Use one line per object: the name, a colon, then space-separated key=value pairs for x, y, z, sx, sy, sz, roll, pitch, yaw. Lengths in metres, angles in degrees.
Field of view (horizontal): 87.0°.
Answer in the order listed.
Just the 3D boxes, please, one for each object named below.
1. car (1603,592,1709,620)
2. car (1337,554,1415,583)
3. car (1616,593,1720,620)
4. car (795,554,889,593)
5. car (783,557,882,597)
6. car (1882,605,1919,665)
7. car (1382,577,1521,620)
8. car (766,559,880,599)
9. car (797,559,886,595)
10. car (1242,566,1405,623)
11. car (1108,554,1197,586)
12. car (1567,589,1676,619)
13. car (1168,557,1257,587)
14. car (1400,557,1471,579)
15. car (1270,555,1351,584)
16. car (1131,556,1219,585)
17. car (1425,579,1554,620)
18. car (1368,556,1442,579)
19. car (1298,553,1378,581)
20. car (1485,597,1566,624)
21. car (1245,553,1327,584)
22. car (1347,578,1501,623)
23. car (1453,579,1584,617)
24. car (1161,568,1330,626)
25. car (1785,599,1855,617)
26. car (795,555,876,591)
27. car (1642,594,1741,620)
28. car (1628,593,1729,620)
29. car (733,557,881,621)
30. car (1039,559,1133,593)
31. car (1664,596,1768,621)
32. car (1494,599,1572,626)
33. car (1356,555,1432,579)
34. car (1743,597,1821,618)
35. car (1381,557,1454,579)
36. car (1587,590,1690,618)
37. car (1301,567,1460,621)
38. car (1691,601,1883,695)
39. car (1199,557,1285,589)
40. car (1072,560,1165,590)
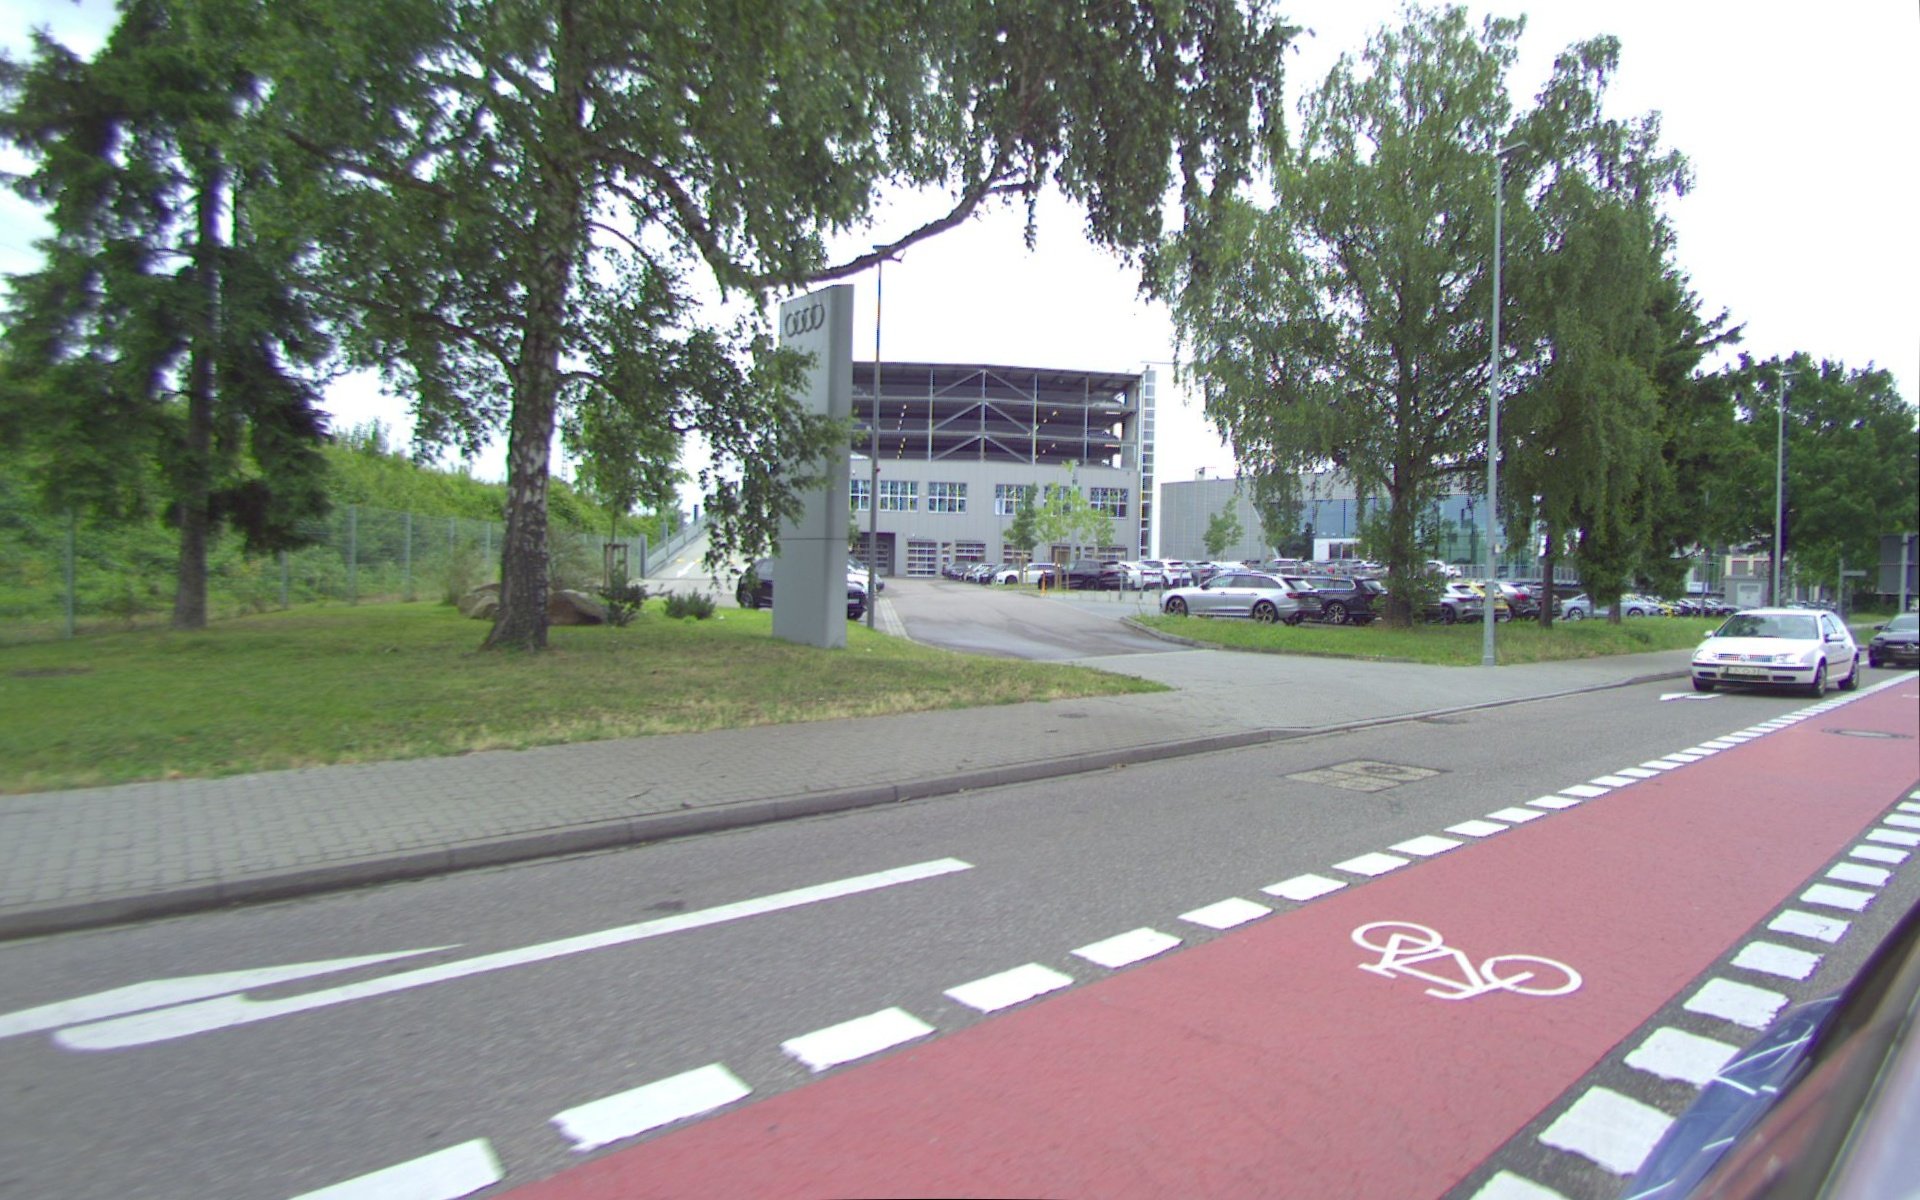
car: x=36.483 y=0.328 z=53.118 sx=1.708 sy=1.375 sz=4.304 roll=1 pitch=-1 yaw=-40
car: x=27.052 y=-2.019 z=65.944 sx=1.861 sy=1.612 sz=4.306 roll=1 pitch=-1 yaw=-39
car: x=38.438 y=0.386 z=55.026 sx=1.806 sy=1.396 sz=4.304 roll=1 pitch=-1 yaw=-40
car: x=-5.467 y=-1.191 z=46.836 sx=4.224 sy=1.712 sz=1.971 roll=0 pitch=-1 yaw=-6
car: x=-5.570 y=-1.005 z=44.376 sx=4.224 sy=1.674 sz=1.971 roll=0 pitch=-1 yaw=-6
car: x=24.822 y=0.862 z=25.553 sx=3.930 sy=1.442 sz=1.835 roll=1 pitch=0 yaw=-41
car: x=17.144 y=-0.024 z=35.433 sx=1.777 sy=1.397 sz=4.004 roll=1 pitch=-1 yaw=-38
car: x=-5.668 y=-0.854 z=41.915 sx=4.579 sy=1.587 sz=1.907 roll=0 pitch=-1 yaw=-8
car: x=-5.766 y=-1.126 z=49.513 sx=4.224 sy=1.683 sz=1.971 roll=0 pitch=-1 yaw=-6
car: x=11.061 y=-0.103 z=31.003 sx=1.935 sy=1.622 sz=4.302 roll=1 pitch=-2 yaw=-42
car: x=9.664 y=-1.468 z=51.153 sx=1.671 sy=1.400 sz=4.302 roll=1 pitch=-2 yaw=-42
car: x=32.829 y=0.233 z=50.299 sx=1.708 sy=1.450 sz=4.195 roll=1 pitch=-2 yaw=-40
car: x=13.315 y=-1.446 z=53.465 sx=1.801 sy=1.389 sz=4.302 roll=1 pitch=-2 yaw=-42
car: x=34.458 y=-2.278 z=73.419 sx=1.801 sy=1.381 sz=4.302 roll=1 pitch=-2 yaw=-42
car: x=21.184 y=-1.830 z=61.232 sx=1.801 sy=1.545 sz=4.302 roll=1 pitch=-2 yaw=-42
car: x=11.165 y=-1.509 z=52.753 sx=1.801 sy=1.263 sz=4.302 roll=1 pitch=-2 yaw=-42
car: x=19.402 y=0.014 z=37.158 sx=1.919 sy=1.442 sz=3.756 roll=1 pitch=-2 yaw=-41
car: x=30.663 y=-2.204 z=69.865 sx=1.801 sy=1.381 sz=4.302 roll=1 pitch=-2 yaw=-42
car: x=23.328 y=-2.022 z=62.562 sx=1.801 sy=1.531 sz=4.302 roll=1 pitch=-2 yaw=-42
car: x=37.727 y=0.741 z=67.561 sx=1.937 sy=1.622 sz=4.304 roll=2 pitch=-4 yaw=-40
car: x=19.138 y=-1.822 z=59.542 sx=1.827 sy=1.547 sz=4.302 roll=1 pitch=-2 yaw=-42
car: x=15.441 y=0.066 z=33.838 sx=1.868 sy=1.400 sz=4.306 roll=1 pitch=-1 yaw=-39
car: x=21.496 y=-0.052 z=39.067 sx=1.868 sy=1.371 sz=4.000 roll=1 pitch=-1 yaw=-39
car: x=7.982 y=-0.106 z=28.530 sx=4.299 sy=1.508 sz=1.712 roll=1 pitch=0 yaw=44
car: x=68.331 y=0.637 z=80.433 sx=1.697 sy=1.410 sz=4.037 roll=1 pitch=-1 yaw=-40
car: x=-6.618 y=-1.446 z=54.134 sx=4.224 sy=1.828 sz=1.971 roll=0 pitch=-1 yaw=-6
car: x=42.112 y=0.420 z=58.316 sx=1.811 sy=1.463 sz=4.304 roll=1 pitch=-1 yaw=-40
car: x=40.131 y=0.380 z=56.624 sx=1.811 sy=1.463 sz=4.304 roll=1 pitch=-1 yaw=-40
car: x=-4.418 y=-0.363 z=28.762 sx=4.299 sy=1.608 sz=1.938 roll=4 pitch=3 yaw=44
car: x=5.875 y=-1.090 z=47.587 sx=1.801 sy=1.391 sz=4.302 roll=1 pitch=-2 yaw=-42
car: x=45.918 y=0.519 z=61.571 sx=1.868 sy=1.442 sz=4.759 roll=1 pitch=-1 yaw=-40
car: x=39.315 y=0.859 z=69.505 sx=1.869 sy=1.622 sz=4.302 roll=3 pitch=-5 yaw=-41
car: x=28.973 y=-2.181 z=67.695 sx=1.801 sy=1.381 sz=4.302 roll=1 pitch=-2 yaw=-42
car: x=58.668 y=0.564 z=72.277 sx=1.697 sy=1.410 sz=4.037 roll=1 pitch=-1 yaw=-40
car: x=32.361 y=-2.238 z=71.670 sx=1.801 sy=1.381 sz=4.302 roll=1 pitch=-2 yaw=-42
car: x=34.673 y=0.232 z=51.803 sx=1.763 sy=1.395 sz=4.053 roll=1 pitch=-1 yaw=-40
car: x=13.368 y=-0.134 z=32.381 sx=1.934 sy=1.622 sz=4.306 roll=1 pitch=-1 yaw=-39
car: x=14.416 y=0.761 z=17.583 sx=3.867 sy=1.442 sz=1.727 roll=1 pitch=0 yaw=-37
car: x=15.574 y=-1.470 z=56.033 sx=1.801 sy=1.554 sz=4.302 roll=1 pitch=-2 yaw=-42
car: x=7.673 y=-1.179 z=49.208 sx=1.801 sy=1.307 sz=4.302 roll=1 pitch=-2 yaw=-42
